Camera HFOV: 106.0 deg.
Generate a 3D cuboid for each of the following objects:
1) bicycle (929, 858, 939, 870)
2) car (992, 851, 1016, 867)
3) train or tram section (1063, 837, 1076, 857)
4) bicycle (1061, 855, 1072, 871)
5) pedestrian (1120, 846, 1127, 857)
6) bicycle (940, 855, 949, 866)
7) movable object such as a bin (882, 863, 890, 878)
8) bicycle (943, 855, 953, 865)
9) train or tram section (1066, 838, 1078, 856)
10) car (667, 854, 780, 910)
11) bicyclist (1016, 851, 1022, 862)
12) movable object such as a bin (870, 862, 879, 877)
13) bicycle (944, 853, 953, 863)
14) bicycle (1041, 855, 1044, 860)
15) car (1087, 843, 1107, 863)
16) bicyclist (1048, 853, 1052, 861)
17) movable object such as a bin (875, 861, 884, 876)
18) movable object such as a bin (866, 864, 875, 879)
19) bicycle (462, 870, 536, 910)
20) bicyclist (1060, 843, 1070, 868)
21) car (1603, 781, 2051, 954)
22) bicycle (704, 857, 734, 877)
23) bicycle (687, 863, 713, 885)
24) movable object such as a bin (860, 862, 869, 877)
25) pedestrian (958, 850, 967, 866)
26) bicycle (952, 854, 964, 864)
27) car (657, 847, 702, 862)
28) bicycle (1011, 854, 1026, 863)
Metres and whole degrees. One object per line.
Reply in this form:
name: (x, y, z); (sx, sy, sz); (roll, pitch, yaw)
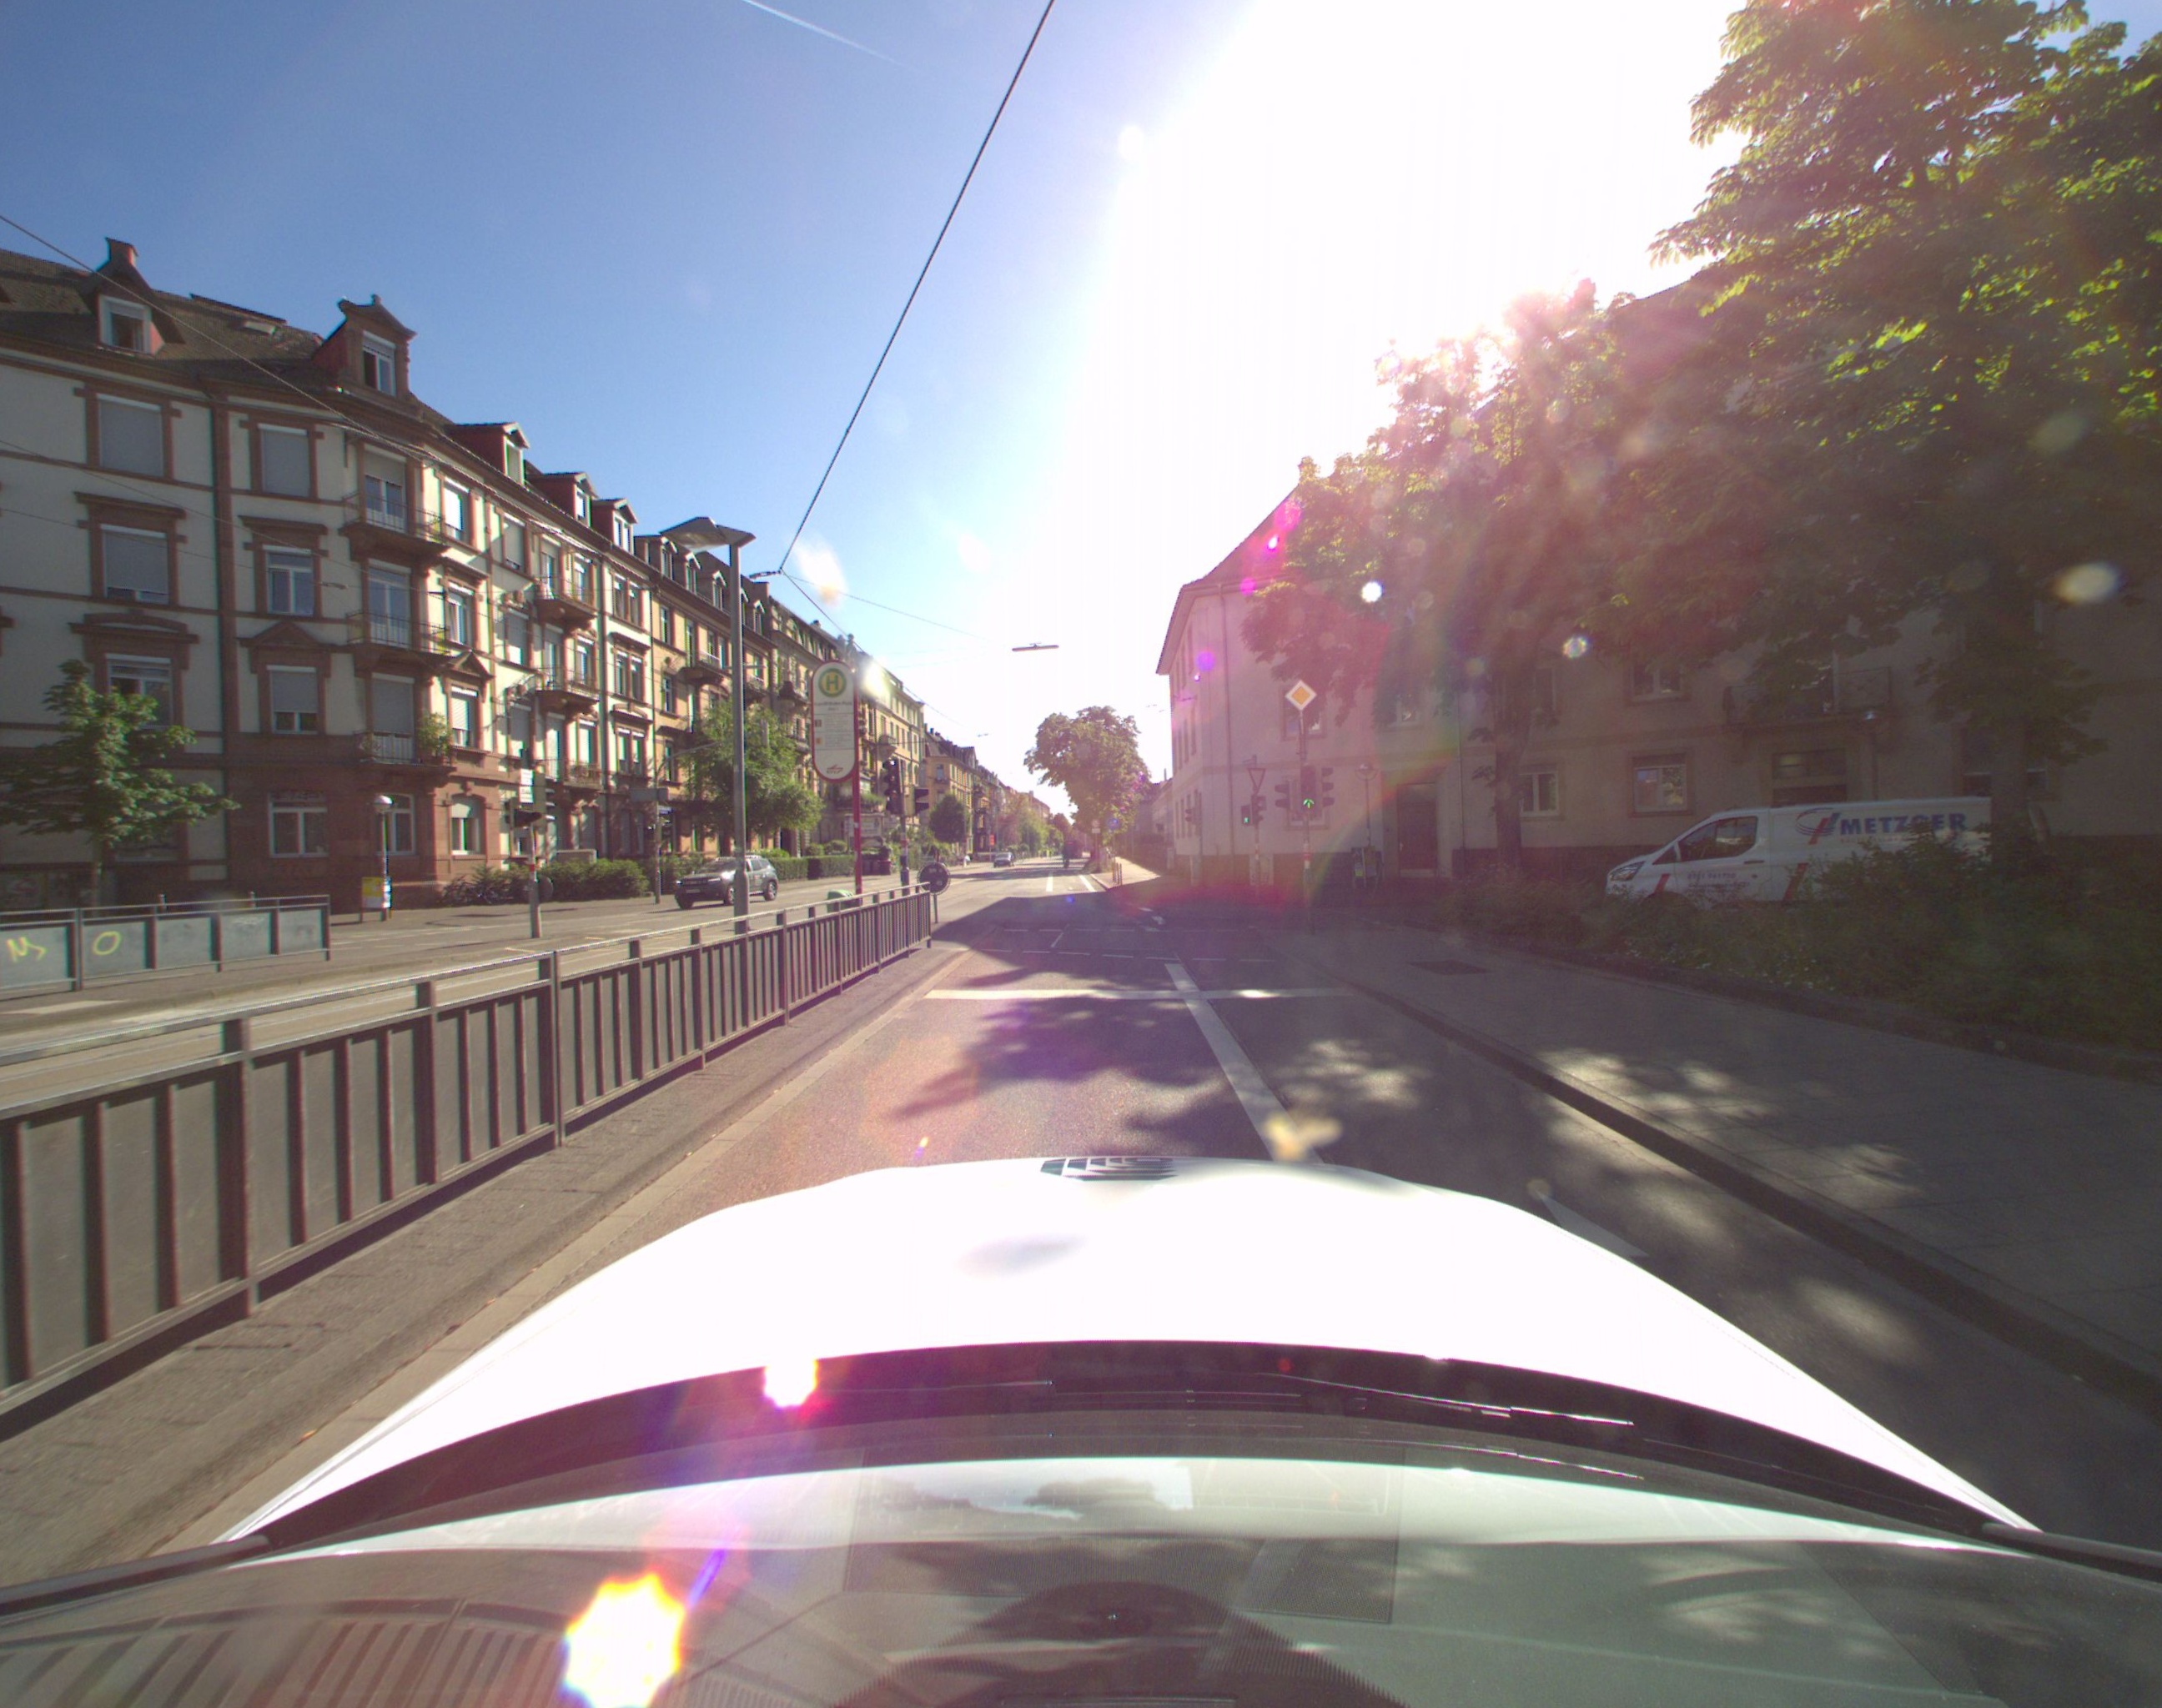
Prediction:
bicycle: (-14.050, 0.941, 77.886); (0.561, 1.033, 1.769); (0, 2, 2)
car: (-7.847, 0.475, 83.423); (1.825, 1.518, 4.969); (0, 1, 2)
train or tram section: (-2.036, -1.270, 148.514); (2.146, 3.431, 6.613); (0, 0, 1)
bicycle: (-1.057, 0.650, 60.241); (0.689, 1.112, 1.719); (0, 0, 2)
pedestrian: (6.179, -0.363, 118.171); (0.755, 1.724, 0.583); (0, 0, 30)
bicycle: (-13.757, 0.676, 82.257); (0.561, 1.033, 1.768); (0, 1, 1)
movable object such as a bin: (-14.436, 1.186, 60.295); (0.477, 1.086, 0.541); (0, 0, 3)
bicycle: (-14.202, 0.664, 86.965); (0.565, 1.033, 1.754); (2, 0, -23)
train or tram section: (-1.712, -1.325, 155.144); (2.146, 3.431, 6.613); (0, 0, 1)
car: (-12.029, 0.875, 27.737); (1.891, 1.618, 4.264); (-3, 0, 0)
bicyclist: (-8.166, 0.378, 107.682); (0.616, 1.468, 0.633); (-1, 0, -21)
movable object such as a bin: (-15.118, 1.105, 59.713); (0.477, 1.086, 0.541); (0, 0, 3)
bicycle: (-13.806, 0.418, 84.734); (0.561, 1.033, 1.768); (0, 1, 1)
bicycle: (-8.140, 0.780, 171.695); (0.458, 0.926, 2.203); (-3, 0, 2)
car: (1.454, -0.097, 75.433); (1.737, 1.766, 4.478); (-1, 1, 1)
bicyclist: (-7.480, 0.715, 197.364); (0.658, 1.801, 0.616); (-4, 0, 1)
movable object such as a bin: (-14.949, 1.096, 60.499); (0.477, 1.086, 0.541); (0, 0, 3)
movable object such as a bin: (-15.592, 1.298, 60.374); (0.477, 1.086, 0.541); (0, 0, 3)
bicycle: (-20.229, 1.217, 28.338); (0.415, 1.296, 2.058); (0, 0, 43)
bicyclist: (-1.184, 0.106, 60.263); (0.725, 1.848, 0.837); (0, 0, 0)
car: (10.731, 0.152, 12.137); (1.697, 2.092, 4.700); (-1, 1, -43)
bicycle: (-16.934, 0.595, 38.099); (0.340, 0.926, 1.946); (0, 0, 6)
bicycle: (-16.974, 0.878, 36.287); (0.340, 0.926, 1.455); (0, 0, 6)
movable object such as a bin: (-15.862, 1.132, 59.545); (0.477, 1.086, 0.541); (0, 0, 3)
pedestrian: (-12.528, 0.422, 85.976); (0.826, 1.723, 1.082); (0, -1, 1)
bicycle: (-13.520, 0.587, 89.558); (0.567, 1.033, 1.749); (-1, 2, -35)
car: (-47.653, 0.073, 96.661); (4.426, 1.643, 1.969); (0, 0, 4)
bicycle: (-8.288, 0.584, 107.619); (1.918, 1.112, 0.689); (-1, 0, -21)
